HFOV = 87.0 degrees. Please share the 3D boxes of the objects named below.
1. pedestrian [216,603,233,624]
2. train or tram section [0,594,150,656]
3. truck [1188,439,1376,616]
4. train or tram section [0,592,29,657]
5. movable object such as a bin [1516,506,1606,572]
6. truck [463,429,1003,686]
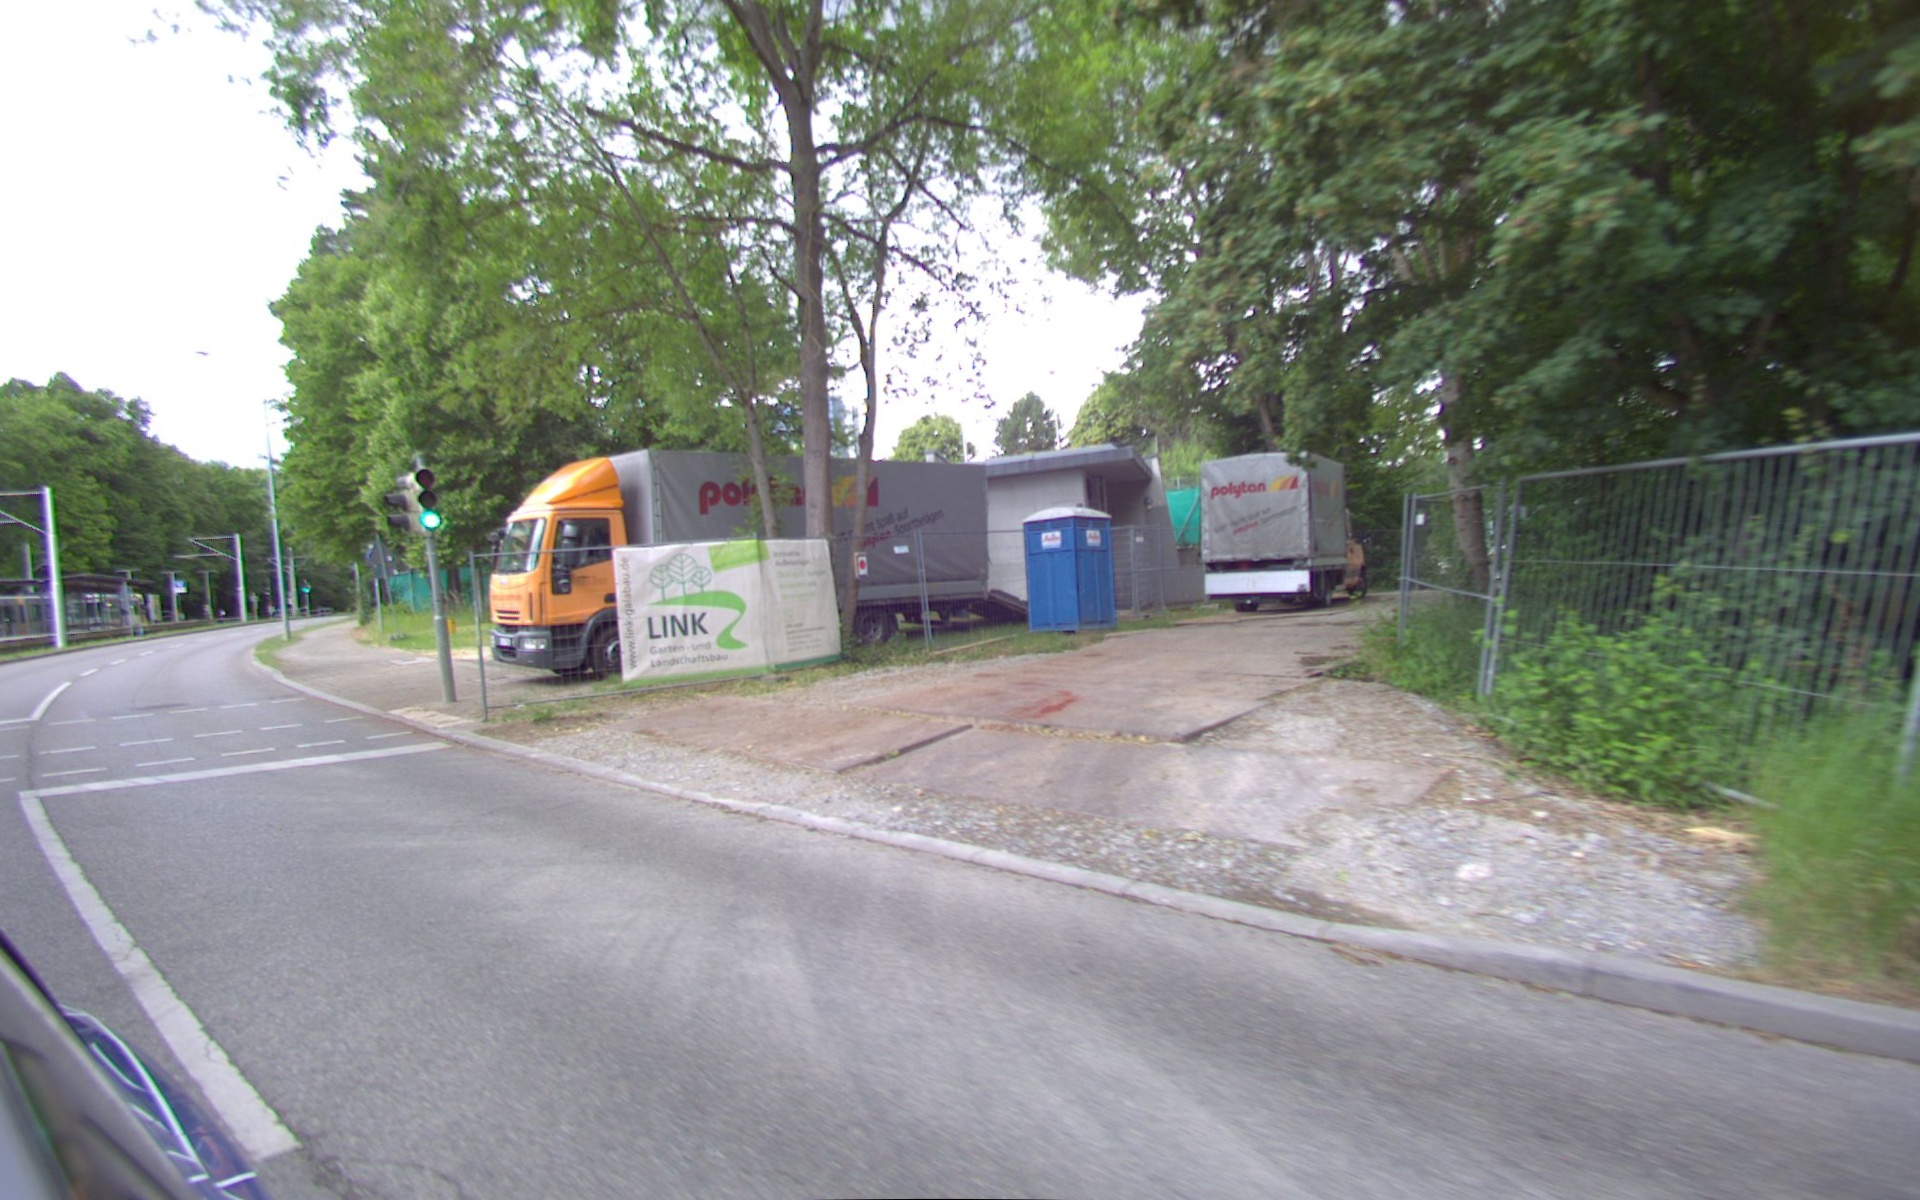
[{"bbox_3d":[-64.141,1.185,88.312,0.970,1.770,0.732,-6,1,-30],"label":"pedestrian"},{"bbox_3d":[-63.172,1.581,71.753,2.775,3.763,18.592,-6,2,-20],"label":"train or tram section"},{"bbox_3d":[7.263,-1.506,22.283,2.445,3.223,5.854,-4,1,31],"label":"truck"},{"bbox_3d":[-56.181,1.607,54.147,2.775,3.826,18.996,-6,2,-23],"label":"train or tram section"},{"bbox_3d":[25.844,-2.555,43.677,2.135,2.610,3.984,-2,1,13],"label":"movable object such as a bin"},{"bbox_3d":[-3.477,-0.925,18.037,9.121,3.557,2.569,-6,4,-41],"label":"truck"}]
